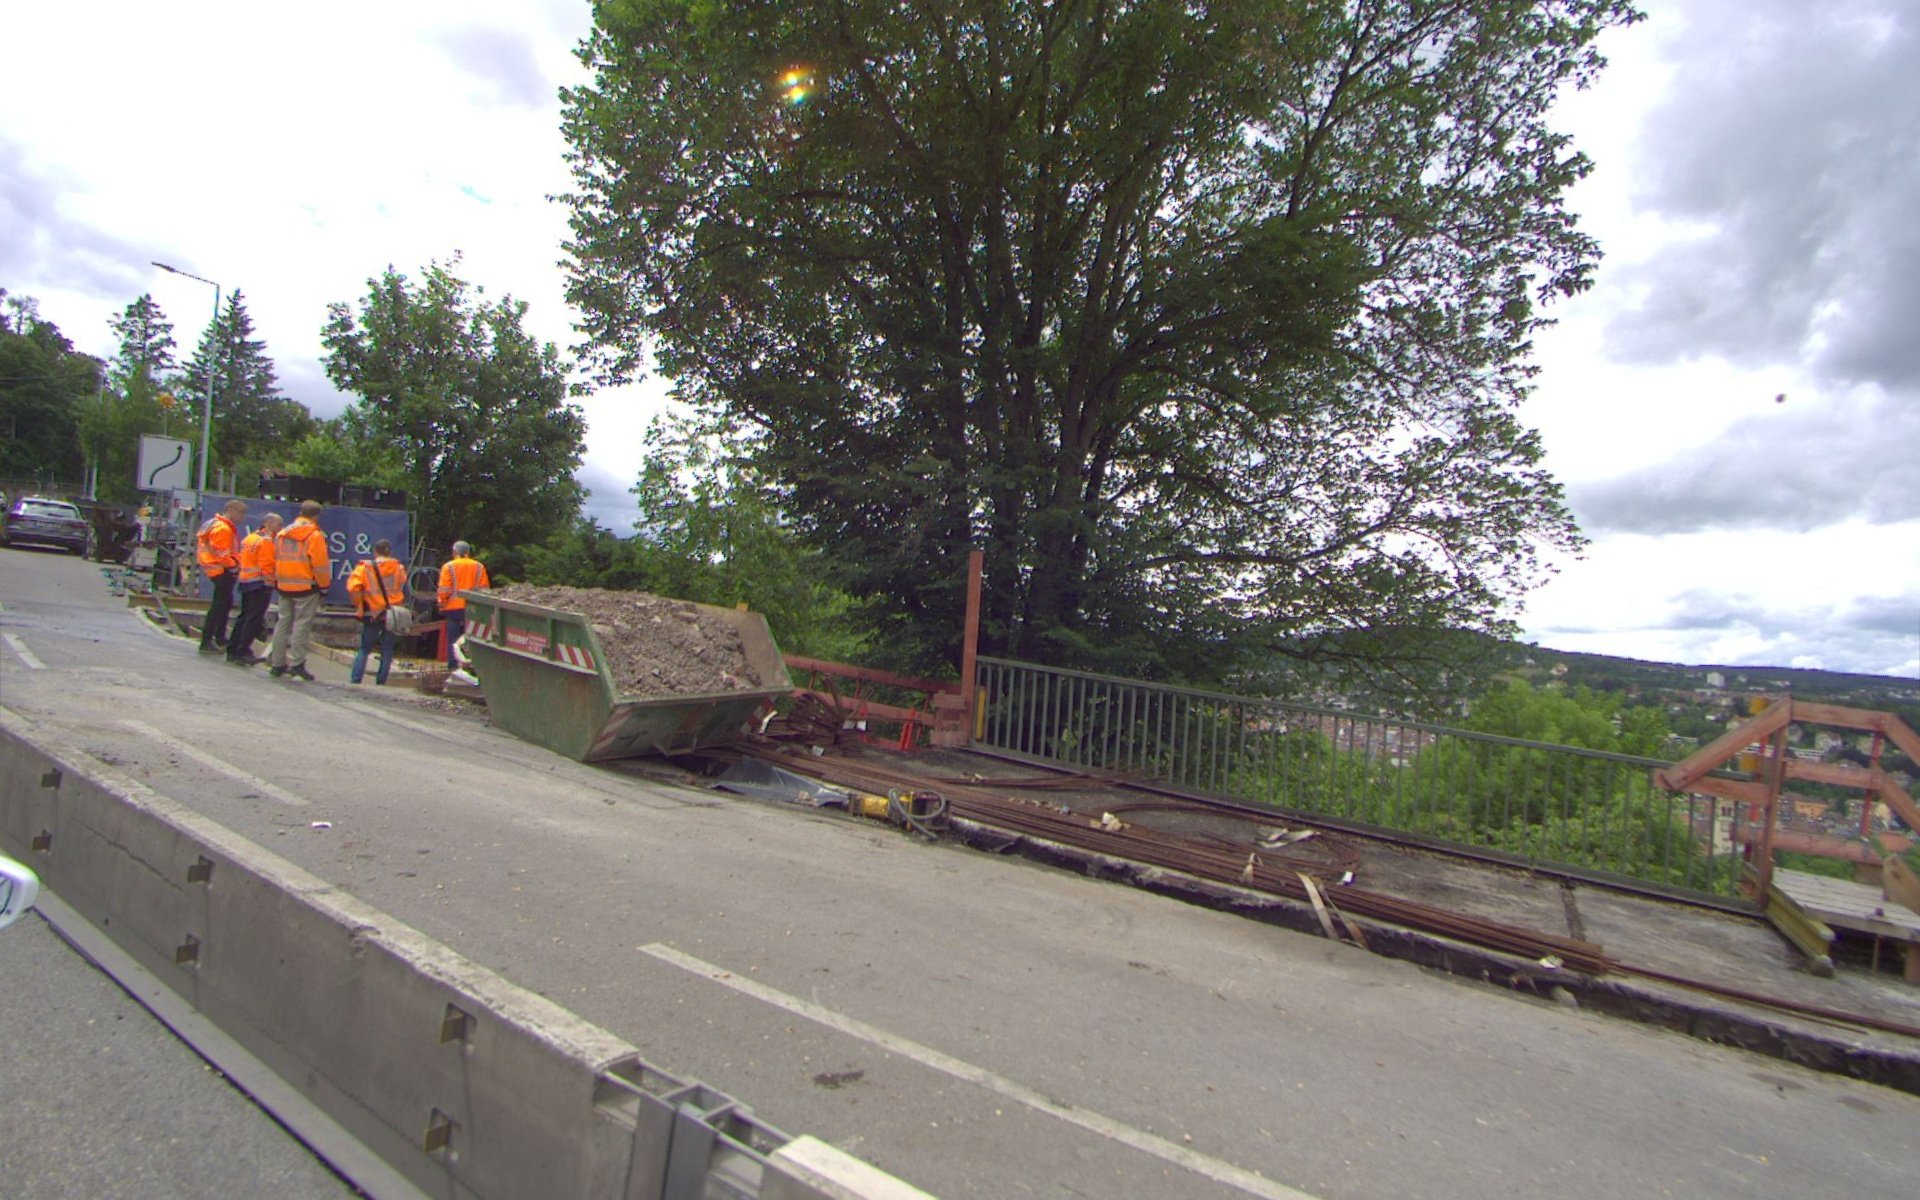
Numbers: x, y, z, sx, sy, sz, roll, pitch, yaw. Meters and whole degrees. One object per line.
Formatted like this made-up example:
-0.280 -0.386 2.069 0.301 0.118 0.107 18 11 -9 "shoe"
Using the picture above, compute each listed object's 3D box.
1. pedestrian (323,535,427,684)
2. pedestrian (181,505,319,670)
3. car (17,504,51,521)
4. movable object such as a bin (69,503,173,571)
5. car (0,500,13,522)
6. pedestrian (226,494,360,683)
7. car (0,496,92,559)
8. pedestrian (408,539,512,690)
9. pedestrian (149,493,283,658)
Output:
-6.865 0.114 11.806 0.780 1.627 0.659 7 0 -43 "pedestrian"
-8.180 -0.136 11.605 0.864 1.752 0.877 7 0 31 "pedestrian"
-91.794 -8.650 99.718 1.784 1.384 3.963 8 -1 -34 "car"
-22.015 -1.638 26.403 1.874 1.442 1.398 7 -1 29 "movable object such as a bin"
-65.019 -6.115 67.562 3.948 1.384 1.791 6 -1 44 "car"
-7.311 -0.114 11.041 0.810 1.929 0.693 7 0 19 "pedestrian"
-25.595 -2.049 28.037 1.790 1.384 3.950 8 -1 -44 "car"
-6.098 0.179 12.262 0.780 1.708 0.776 7 0 -43 "pedestrian"
-9.004 -0.282 12.189 0.864 1.844 0.877 7 0 31 "pedestrian"
